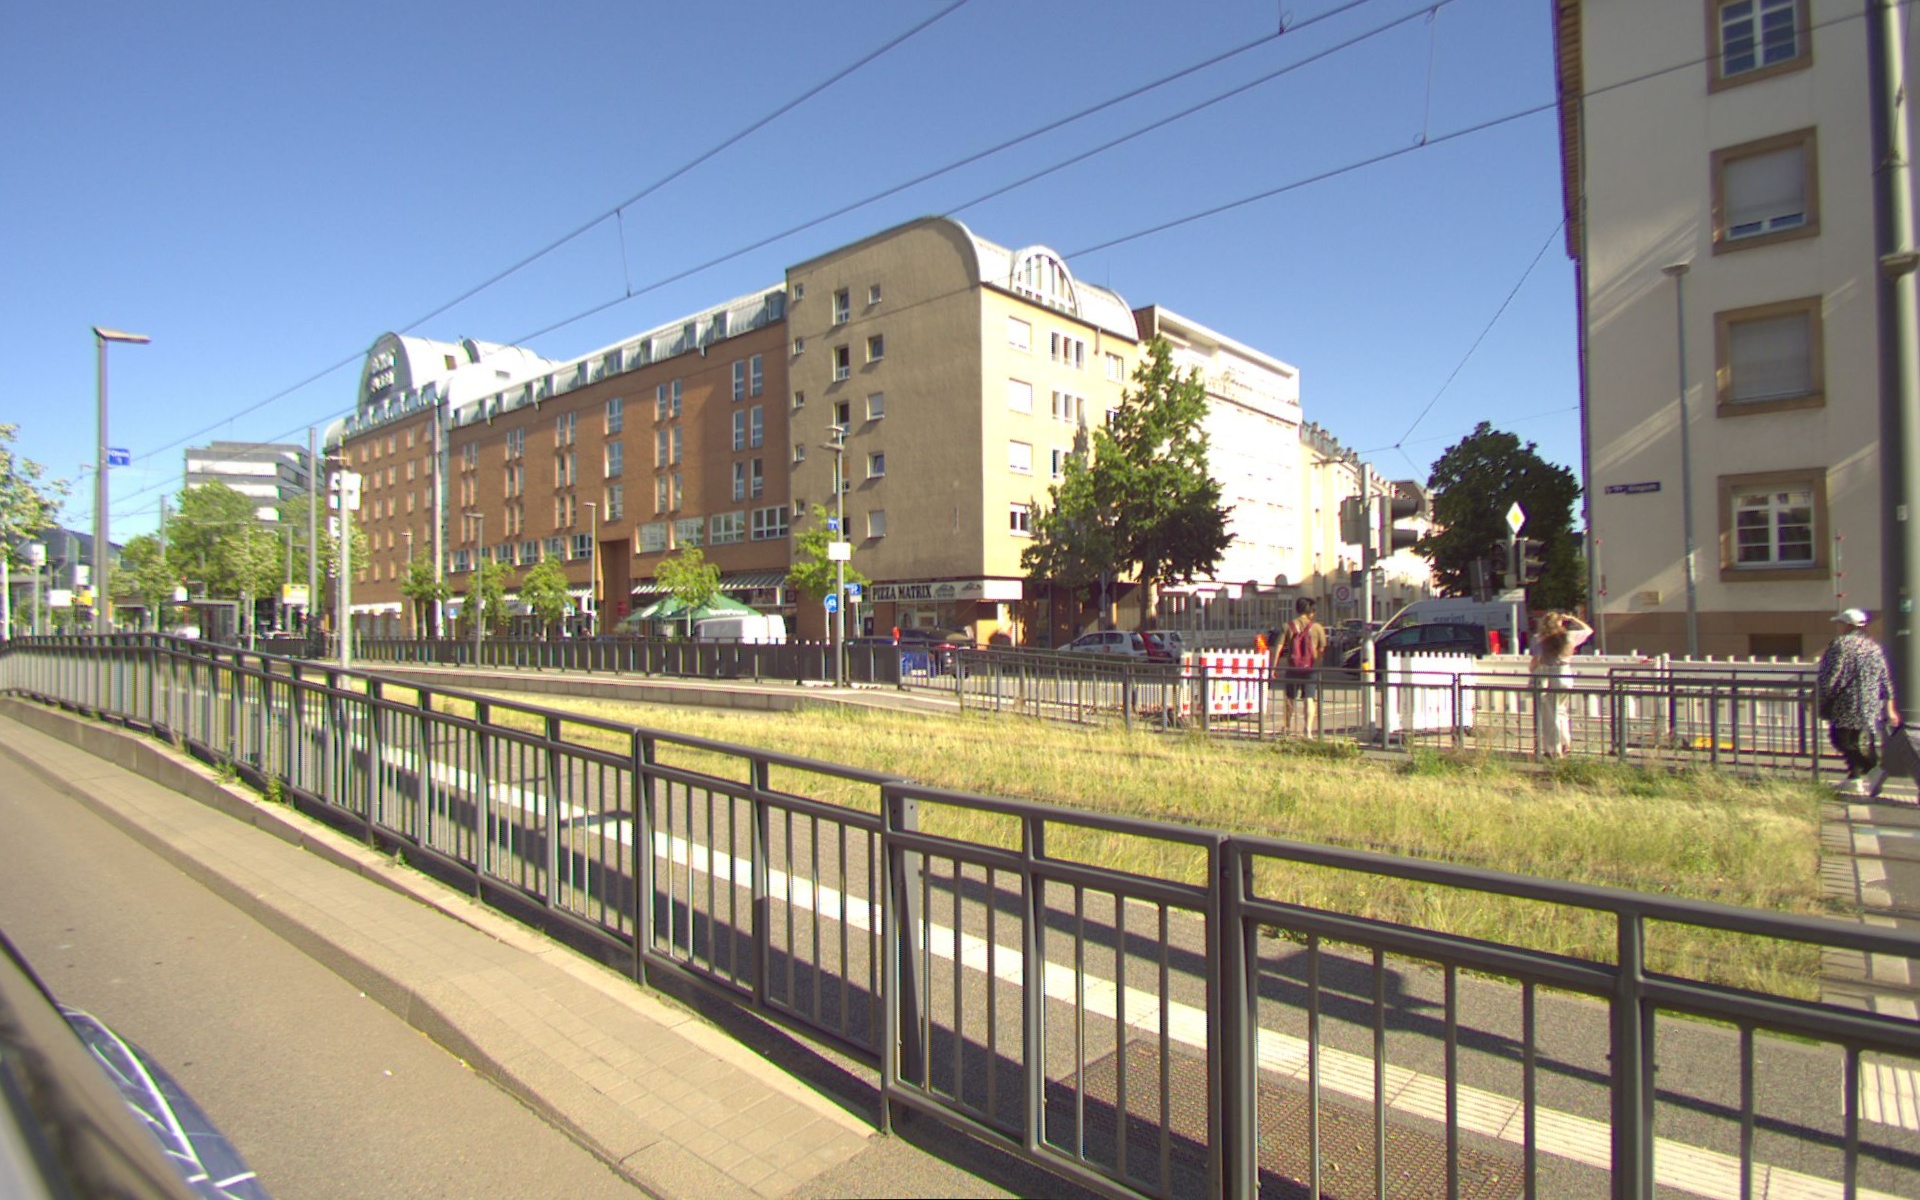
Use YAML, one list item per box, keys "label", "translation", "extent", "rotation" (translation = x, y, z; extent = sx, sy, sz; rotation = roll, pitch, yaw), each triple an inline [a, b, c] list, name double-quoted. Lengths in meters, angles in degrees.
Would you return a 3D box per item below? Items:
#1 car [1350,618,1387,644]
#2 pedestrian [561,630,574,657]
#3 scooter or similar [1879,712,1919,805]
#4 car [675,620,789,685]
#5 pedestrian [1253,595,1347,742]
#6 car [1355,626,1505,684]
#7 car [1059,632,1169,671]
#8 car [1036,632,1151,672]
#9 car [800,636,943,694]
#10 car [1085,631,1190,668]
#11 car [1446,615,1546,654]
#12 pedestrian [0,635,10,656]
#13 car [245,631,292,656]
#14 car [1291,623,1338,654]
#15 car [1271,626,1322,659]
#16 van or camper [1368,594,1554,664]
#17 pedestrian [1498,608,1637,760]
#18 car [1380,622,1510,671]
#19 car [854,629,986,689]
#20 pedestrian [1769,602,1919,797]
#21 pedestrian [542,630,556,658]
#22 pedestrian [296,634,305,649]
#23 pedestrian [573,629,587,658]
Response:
- label: "car"
  translation: [28.118, 2.119, 69.584]
  extent: [1.947, 1.674, 3.962]
  rotation: [-2, -2, 28]
- label: "pedestrian"
  translation: [-26.731, 2.945, 68.909]
  extent: [0.644, 1.854, 0.614]
  rotation: [-2, -3, 39]
- label: "scooter or similar"
  translation: [7.645, 1.234, 7.850]
  extent: [0.512, 0.656, 0.704]
  rotation: [-2, -1, 20]
- label: "car"
  translation: [-9.107, 2.024, 40.041]
  extent: [1.969, 2.388, 5.653]
  rotation: [0, -2, -41]
- label: "pedestrian"
  translation: [4.379, 0.851, 13.008]
  extent: [0.907, 1.794, 0.858]
  rotation: [-2, -1, 34]
- label: "car"
  translation: [13.235, 1.527, 28.550]
  extent: [3.661, 1.533, 1.673]
  rotation: [-2, -2, 32]
- label: "car"
  translation: [6.106, 2.045, 40.187]
  extent: [3.980, 1.462, 1.768]
  rotation: [-2, -2, 28]
- label: "car"
  translation: [5.066, 1.955, 38.463]
  extent: [3.980, 1.462, 1.768]
  rotation: [-2, -2, 28]
- label: "car"
  translation: [-2.309, 1.639, 25.998]
  extent: [3.651, 1.387, 1.557]
  rotation: [-2, -5, 41]
- label: "car"
  translation: [7.386, 2.056, 42.192]
  extent: [3.980, 1.462, 1.768]
  rotation: [-2, -2, 28]
- label: "car"
  translation: [25.426, 1.625, 48.034]
  extent: [3.990, 1.789, 1.722]
  rotation: [-2, -2, 35]
- label: "pedestrian"
  translation: [-71.172, 3.380, 75.389]
  extent: [0.601, 1.581, 0.909]
  rotation: [0, -2, -43]
- label: "car"
  translation: [-51.104, 3.190, 74.783]
  extent: [3.998, 1.696, 1.973]
  rotation: [-1, 0, 41]
- label: "car"
  translation: [20.169, 2.180, 57.478]
  extent: [1.947, 1.674, 3.962]
  rotation: [-2, -2, 28]
- label: "car"
  translation: [17.843, 2.230, 53.516]
  extent: [1.947, 1.674, 3.962]
  rotation: [-2, -2, 28]
- label: "van or camper"
  translation: [18.331, 1.080, 37.196]
  extent: [5.933, 2.419, 1.979]
  rotation: [-2, -2, 30]
- label: "pedestrian"
  translation: [6.557, 0.869, 10.958]
  extent: [0.894, 1.548, 0.870]
  rotation: [-1, -1, -11]
- label: "car"
  translation: [15.917, 1.501, 33.255]
  extent: [3.654, 1.533, 1.673]
  rotation: [-2, -2, 32]
- label: "car"
  translation: [-1.305, 1.818, 31.854]
  extent: [3.997, 1.773, 1.796]
  rotation: [-2, -2, 40]
- label: "pedestrian"
  translation: [7.510, 0.800, 8.550]
  extent: [0.792, 1.548, 0.810]
  rotation: [-2, -1, 20]
- label: "pedestrian"
  translation: [-28.223, 3.014, 69.525]
  extent: [0.644, 1.854, 0.614]
  rotation: [-2, -3, 39]
- label: "pedestrian"
  translation: [-73.283, 4.630, 112.483]
  extent: [0.637, 1.622, 0.728]
  rotation: [1, -3, -45]
- label: "pedestrian"
  translation: [-24.723, 2.845, 65.777]
  extent: [0.644, 1.854, 0.614]
  rotation: [-2, -3, 41]
